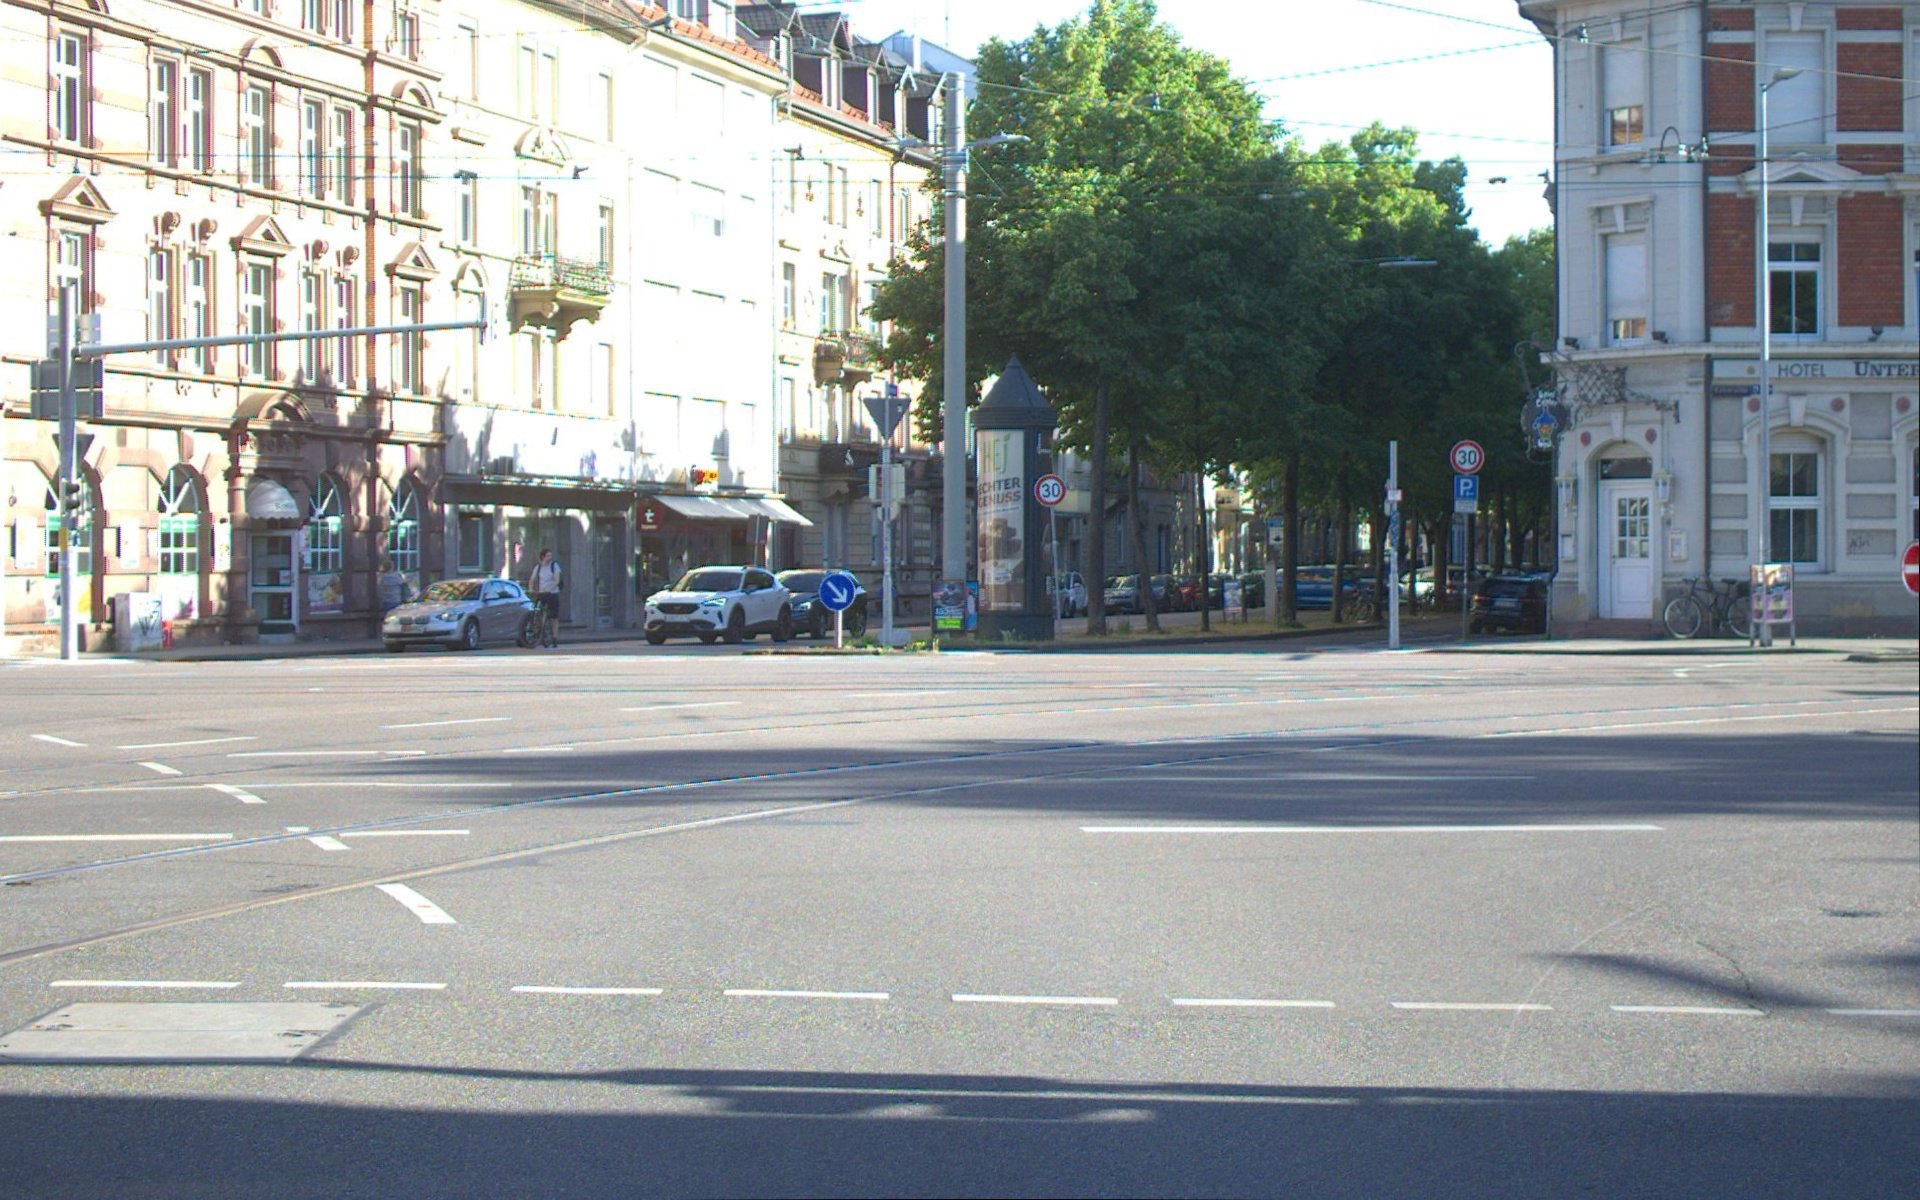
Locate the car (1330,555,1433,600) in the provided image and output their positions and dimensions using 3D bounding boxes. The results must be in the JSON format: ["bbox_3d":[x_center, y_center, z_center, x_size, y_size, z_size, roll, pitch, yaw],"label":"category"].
[{"bbox_3d":[15.710,-0.841,128.028,3.582,1.642,1.681,0,1,17],"label":"car"}]

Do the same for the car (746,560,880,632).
[{"bbox_3d":[-3.123,-0.101,73.610,1.678,1.478,3.945,0,1,16],"label":"car"}]

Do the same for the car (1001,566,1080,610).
[{"bbox_3d":[2.633,-0.397,111.318,1.678,1.349,3.588,0,1,17],"label":"car"}]

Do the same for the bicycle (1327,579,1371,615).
[{"bbox_3d":[11.258,-0.100,99.479,0.636,1.018,1.847,1,1,-14],"label":"bicycle"}]

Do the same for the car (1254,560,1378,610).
[{"bbox_3d":[11.988,-0.505,115.673,3.905,1.642,1.681,0,1,17],"label":"car"}]

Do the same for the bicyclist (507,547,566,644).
[{"bbox_3d":[-8.018,-0.088,65.134,0.779,1.797,1.055,1,0,14],"label":"bicyclist"}]

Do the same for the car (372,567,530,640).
[{"bbox_3d":[-9.876,0.056,66.905,1.678,1.349,3.588,0,1,17],"label":"car"}]

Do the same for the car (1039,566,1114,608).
[{"bbox_3d":[3.930,-0.440,115.475,1.678,1.349,3.588,0,1,17],"label":"car"}]

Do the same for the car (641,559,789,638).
[{"bbox_3d":[-4.765,-0.051,67.309,1.678,1.478,3.768,0,1,17],"label":"car"}]

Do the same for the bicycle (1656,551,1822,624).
[{"bbox_3d":[12.966,-0.205,57.271,2.554,1.170,0.819,1,0,-3],"label":"bicycle"}]

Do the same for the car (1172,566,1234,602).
[{"bbox_3d":[9.609,-0.648,135.773,1.678,1.349,3.588,0,1,17],"label":"car"}]

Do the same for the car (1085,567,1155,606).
[{"bbox_3d":[5.701,-0.480,122.437,1.678,1.349,3.588,0,1,17],"label":"car"}]

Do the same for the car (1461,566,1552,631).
[{"bbox_3d":[13.146,-0.054,82.569,1.678,1.478,3.945,0,1,16],"label":"car"}]

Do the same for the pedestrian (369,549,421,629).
[{"bbox_3d":[-11.836,-0.237,72.063,0.776,1.664,0.830,1,0,15],"label":"pedestrian"}]

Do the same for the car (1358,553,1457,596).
[{"bbox_3d":[17.385,-0.995,133.502,3.582,1.642,1.681,0,1,17],"label":"car"}]

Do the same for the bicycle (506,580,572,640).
[{"bbox_3d":[-7.982,0.185,65.260,0.702,1.114,1.634,1,1,13],"label":"bicycle"}]

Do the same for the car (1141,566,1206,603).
[{"bbox_3d":[8.138,-0.610,130.743,1.678,1.349,3.588,0,1,17],"label":"car"}]
